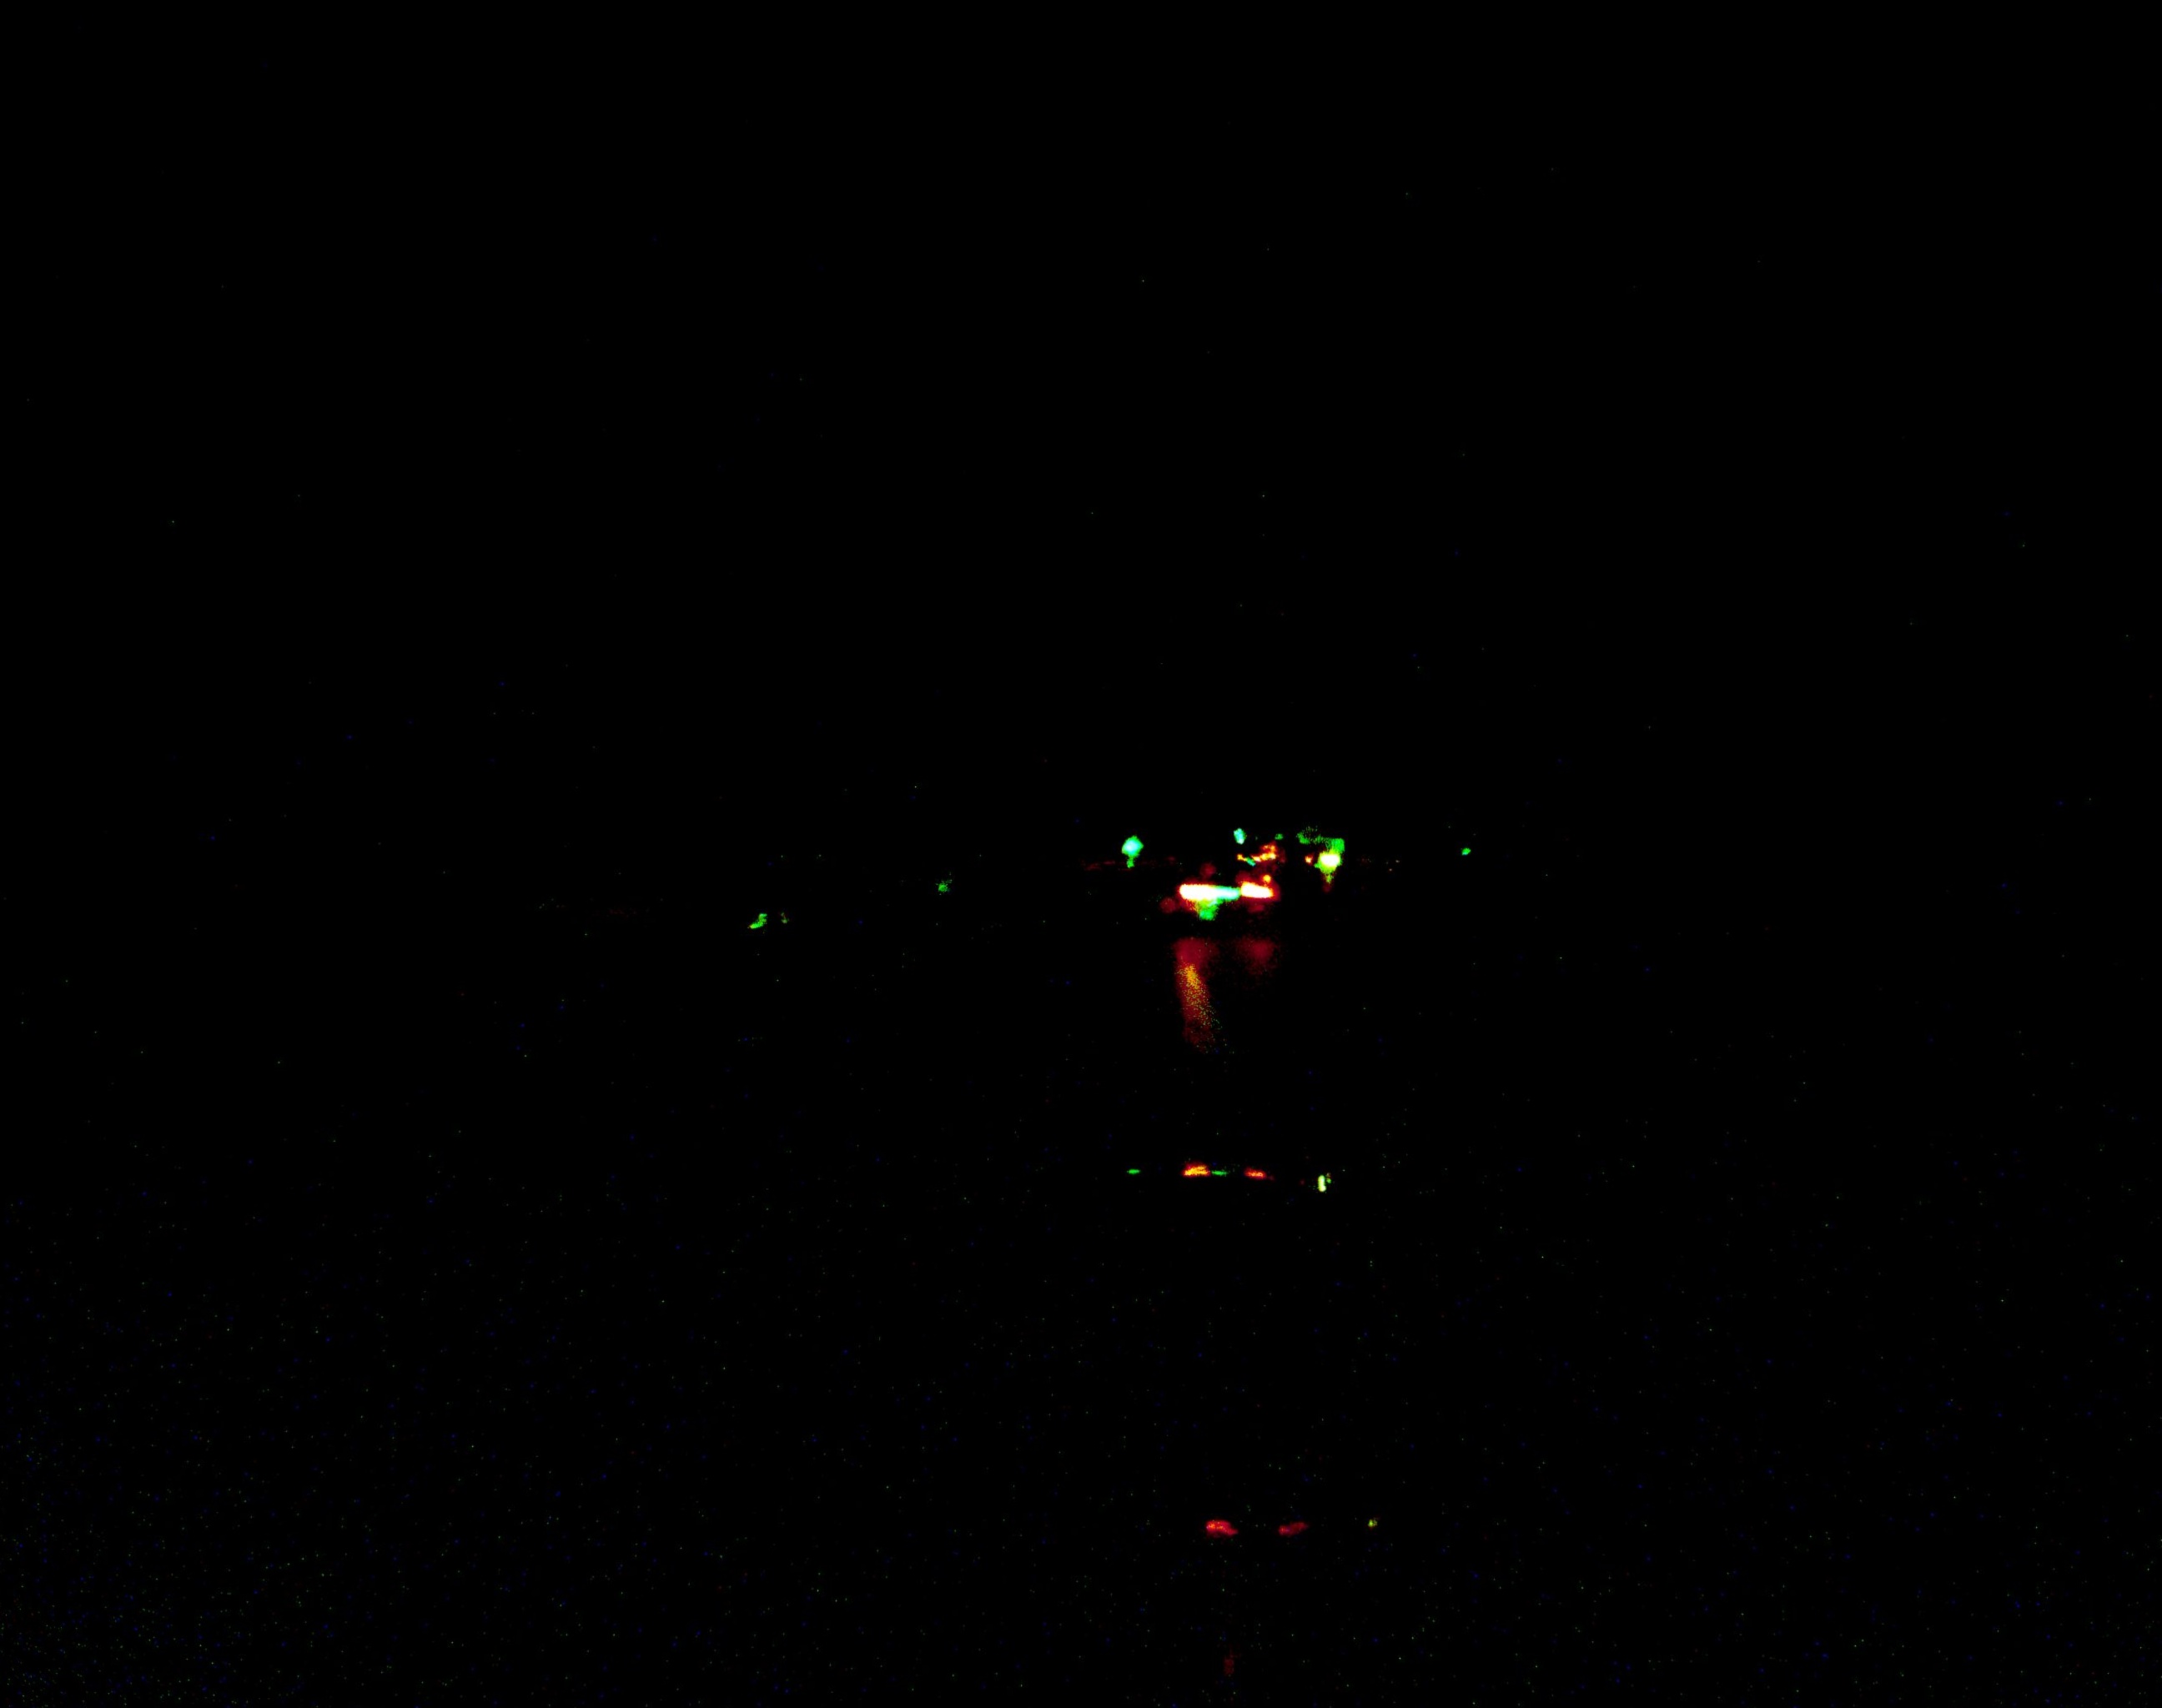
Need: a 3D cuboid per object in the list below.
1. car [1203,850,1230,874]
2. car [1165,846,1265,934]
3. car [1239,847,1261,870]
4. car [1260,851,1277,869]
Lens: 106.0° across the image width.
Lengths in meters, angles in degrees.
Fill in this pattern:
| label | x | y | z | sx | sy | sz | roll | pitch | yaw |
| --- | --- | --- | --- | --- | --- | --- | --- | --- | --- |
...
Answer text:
| label | x | y | z | sx | sy | sz | roll | pitch | yaw |
| --- | --- | --- | --- | --- | --- | --- | --- | --- | --- |
| car | 10.156 | 0.615 | 60.856 | 1.883 | 1.720 | 4.057 | -1 | -1 | 10 |
| car | 2.769 | 0.691 | 17.661 | 1.851 | 1.647 | 4.075 | 1 | 0 | 5 |
| car | 15.751 | 0.466 | 75.810 | 1.882 | 2.040 | 4.059 | -1 | -1 | 13 |
| car | 22.303 | 0.692 | 97.011 | 1.882 | 1.998 | 4.059 | -2 | -1 | 12 |
